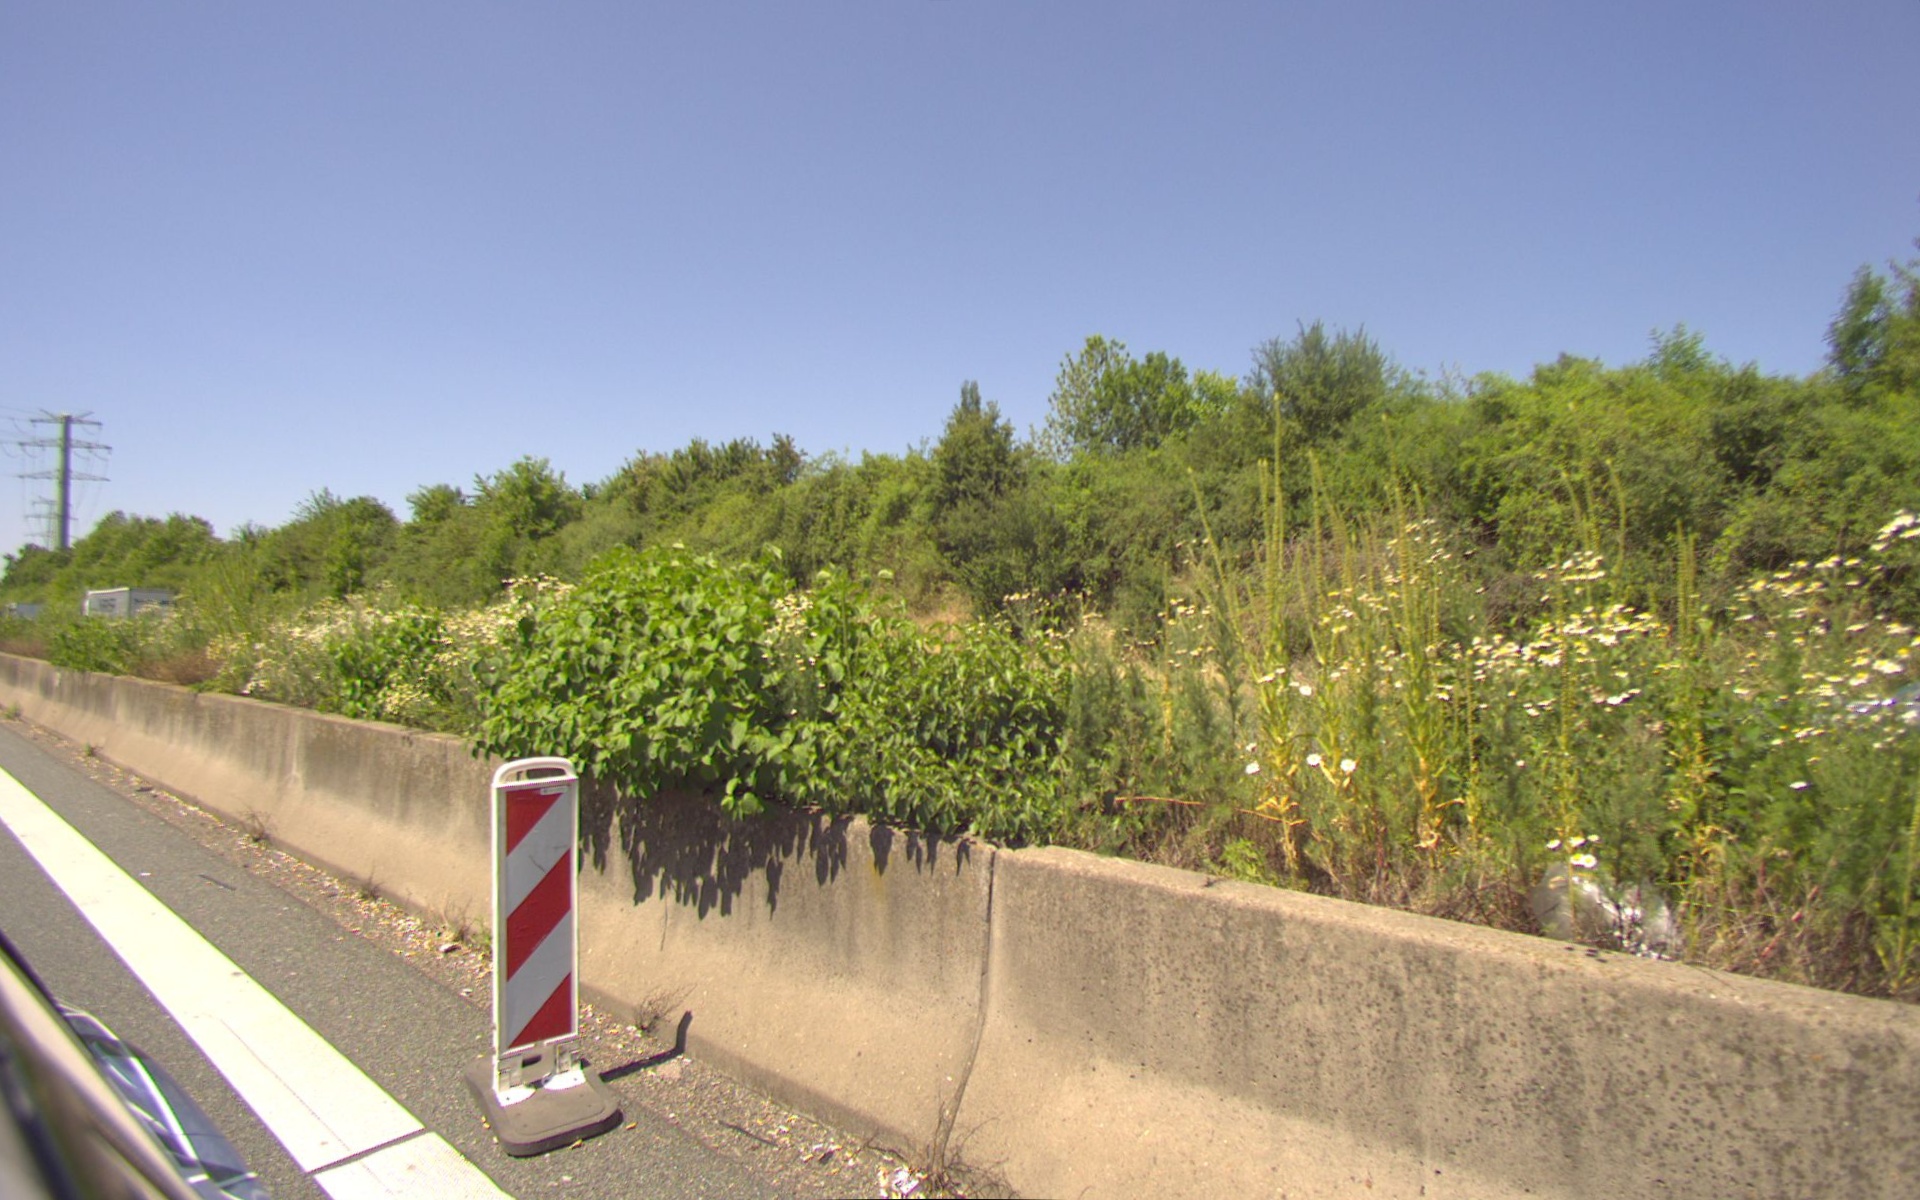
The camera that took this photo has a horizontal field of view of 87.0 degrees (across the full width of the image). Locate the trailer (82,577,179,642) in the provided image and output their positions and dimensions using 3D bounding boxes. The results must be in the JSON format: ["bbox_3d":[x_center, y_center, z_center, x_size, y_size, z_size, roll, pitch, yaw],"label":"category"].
[{"bbox_3d":[-60.038,0.770,73.011,14.014,4.199,2.985,-1,-5,42],"label":"trailer"}]

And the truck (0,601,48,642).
[{"bbox_3d":[-97.205,2.228,104.854,9.024,3.918,2.734,-1,-5,41],"label":"truck"}]

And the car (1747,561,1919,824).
[{"bbox_3d":[8.200,0.668,7.209,3.998,1.877,1.685,-1,-2,41],"label":"car"}]
